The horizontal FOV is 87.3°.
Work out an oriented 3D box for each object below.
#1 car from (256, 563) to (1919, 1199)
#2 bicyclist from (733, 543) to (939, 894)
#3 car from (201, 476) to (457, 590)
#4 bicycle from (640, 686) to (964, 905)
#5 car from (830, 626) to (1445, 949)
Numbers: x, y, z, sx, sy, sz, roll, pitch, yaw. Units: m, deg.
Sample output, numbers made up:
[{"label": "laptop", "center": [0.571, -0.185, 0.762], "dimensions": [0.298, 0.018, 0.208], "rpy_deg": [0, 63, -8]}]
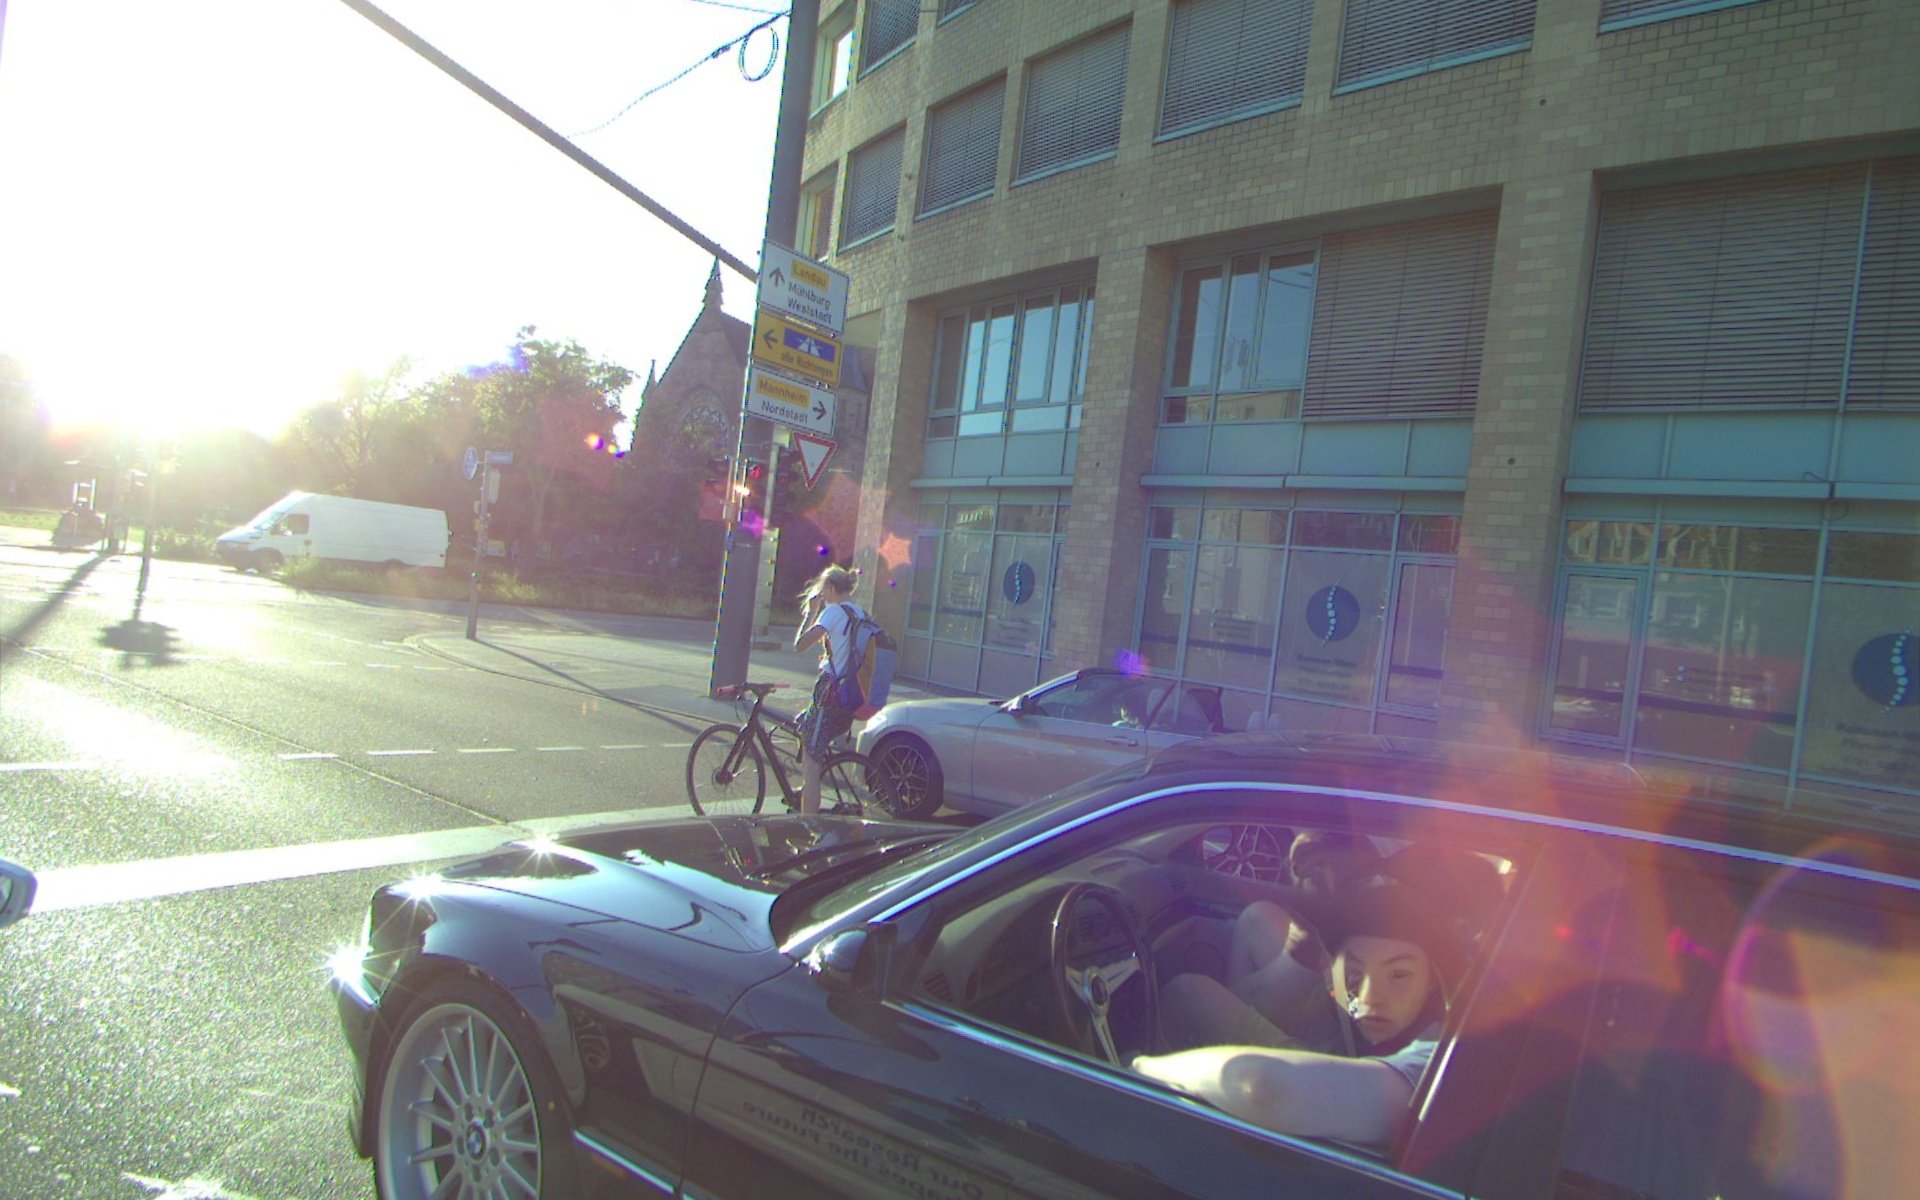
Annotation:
[{"label": "car", "center": [0.895, 0.935, 2.000], "dimensions": [4.661, 1.402, 1.997], "rpy_deg": [7, -1, 32]}, {"label": "bicyclist", "center": [-0.717, 0.650, 5.863], "dimensions": [0.764, 1.843, 0.634], "rpy_deg": [7, 1, 30]}, {"label": "car", "center": [-21.305, -2.167, 34.439], "dimensions": [2.059, 2.862, 7.017], "rpy_deg": [7, 0, 33]}, {"label": "bicycle", "center": [-0.973, 1.087, 5.997], "dimensions": [1.838, 0.884, 0.634], "rpy_deg": [7, 0, 30]}, {"label": "car", "center": [1.251, 1.198, 7.676], "dimensions": [4.157, 1.401, 1.747], "rpy_deg": [7, -1, 31]}]
